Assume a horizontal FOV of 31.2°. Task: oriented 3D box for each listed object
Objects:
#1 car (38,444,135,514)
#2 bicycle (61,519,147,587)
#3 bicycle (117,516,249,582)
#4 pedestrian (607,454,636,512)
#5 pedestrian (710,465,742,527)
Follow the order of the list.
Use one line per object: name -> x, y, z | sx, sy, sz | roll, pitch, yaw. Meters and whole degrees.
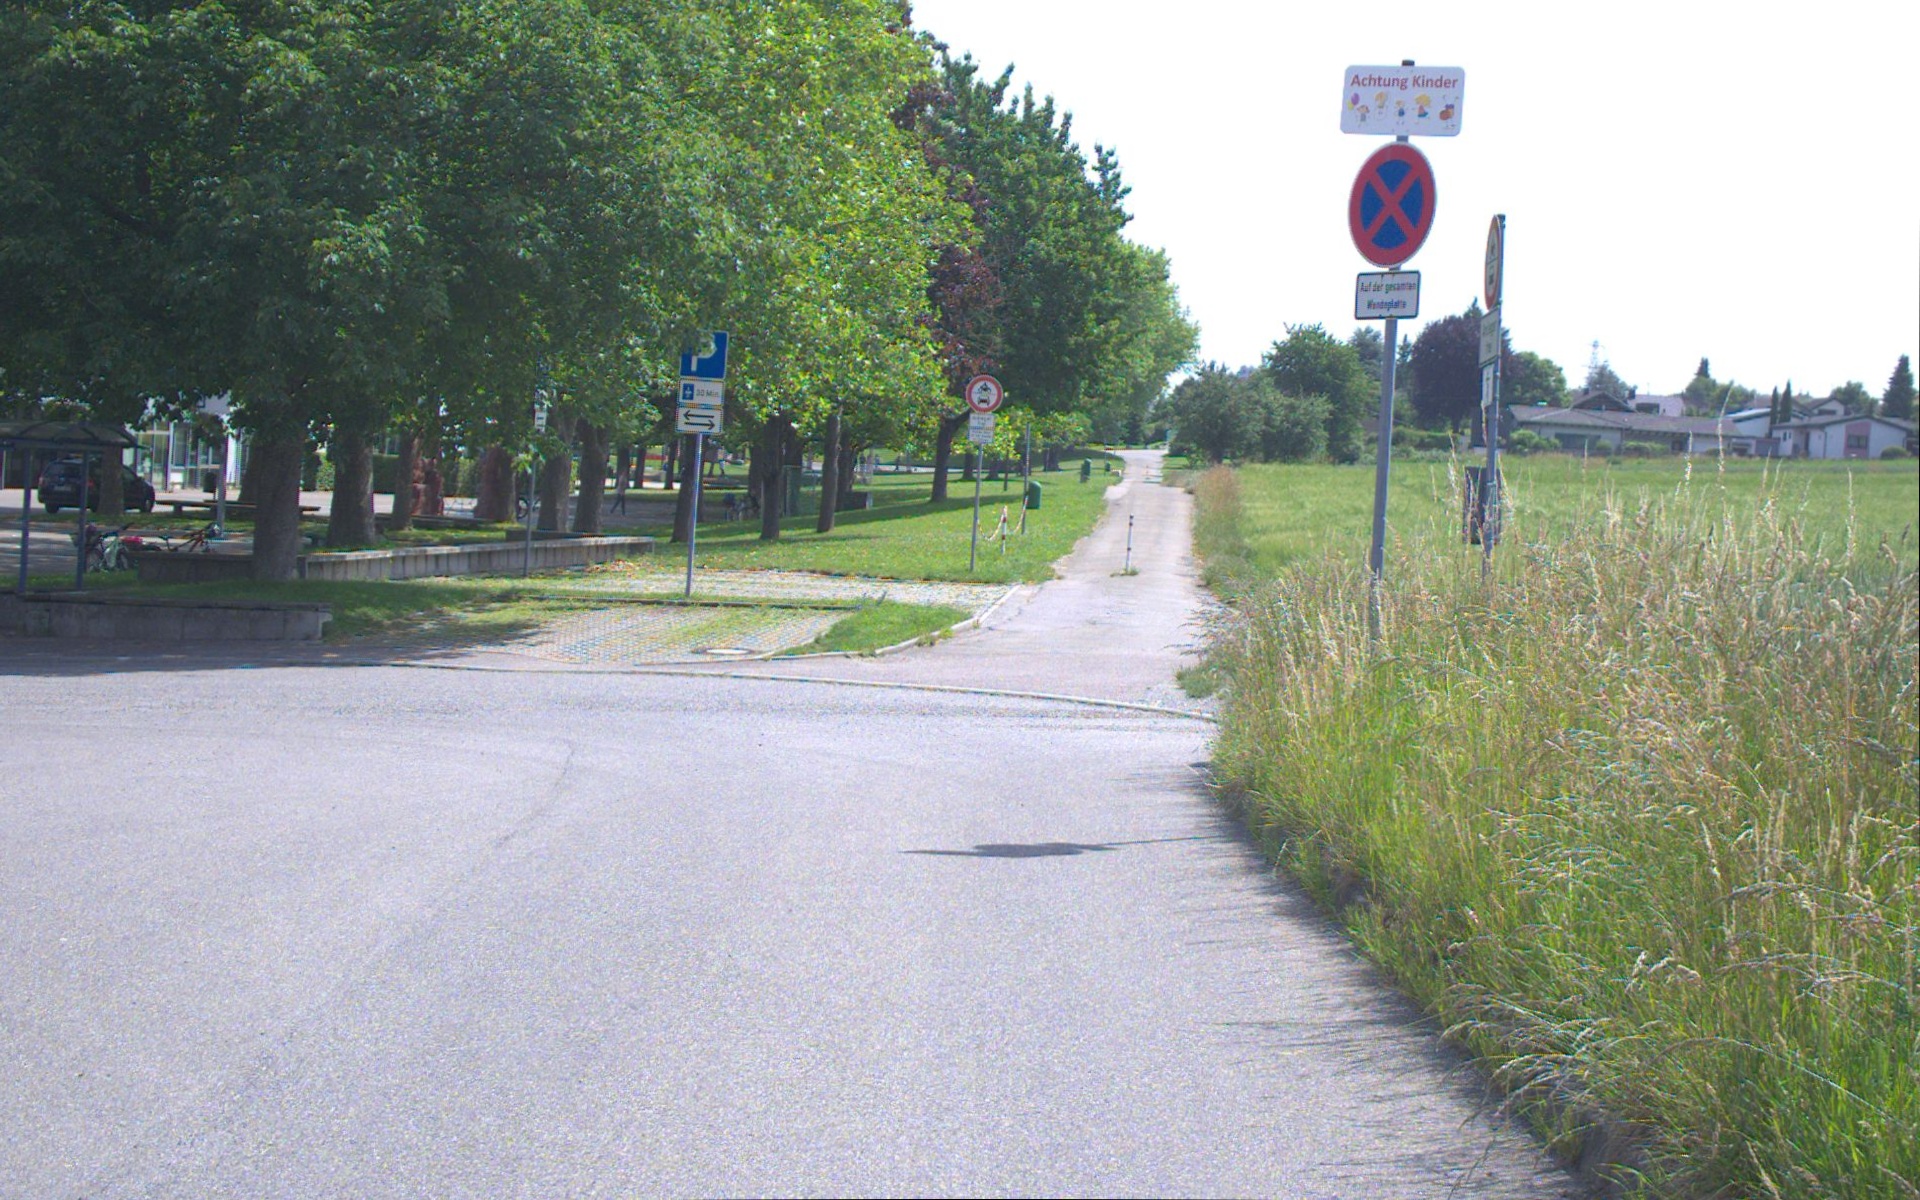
car -> -23.833, -3.292, 93.880 | 1.691, 1.828, 3.411 | 2, 2, 0
bicycle -> -13.584, -0.754, 54.607 | 0.595, 1.035, 1.892 | 2, 2, 10
bicycle -> -12.806, -0.843, 56.688 | 2.062, 1.035, 0.572 | 1, 2, -5
pedestrian -> -12.001, -4.140, 121.928 | 0.832, 2.006, 0.692 | 2, 1, -13
pedestrian -> -7.707, -3.431, 113.247 | 0.682, 2.006, 0.803 | 2, 2, -30
